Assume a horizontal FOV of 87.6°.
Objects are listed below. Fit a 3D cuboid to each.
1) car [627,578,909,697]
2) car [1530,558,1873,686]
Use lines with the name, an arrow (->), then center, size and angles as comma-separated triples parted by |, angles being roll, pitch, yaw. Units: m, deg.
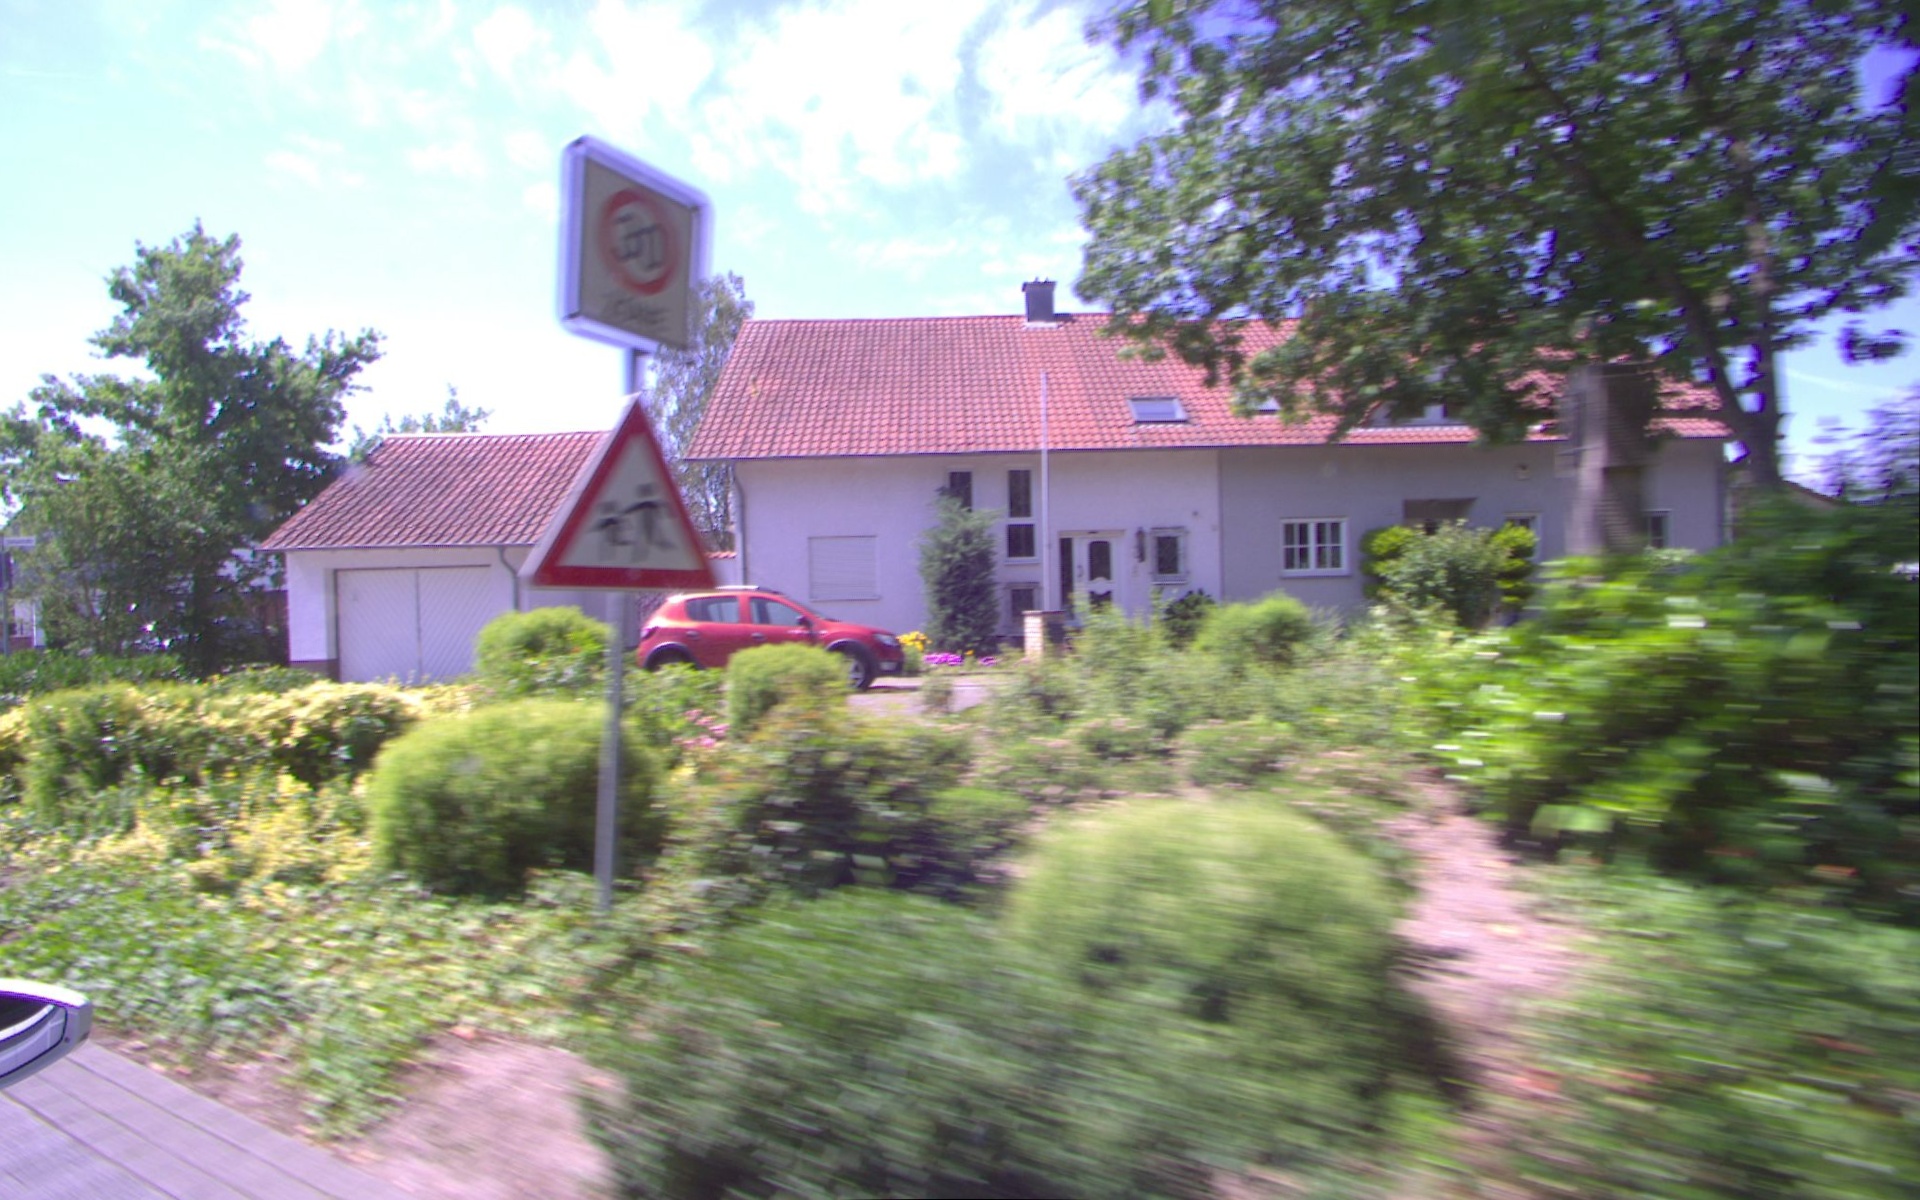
car -> -2.820, 0.558, 15.292 | 3.948, 1.622, 1.666 | -1, 0, 1
car -> 11.155, 0.319, 15.226 | 4.063, 1.727, 1.666 | -1, 0, -4
